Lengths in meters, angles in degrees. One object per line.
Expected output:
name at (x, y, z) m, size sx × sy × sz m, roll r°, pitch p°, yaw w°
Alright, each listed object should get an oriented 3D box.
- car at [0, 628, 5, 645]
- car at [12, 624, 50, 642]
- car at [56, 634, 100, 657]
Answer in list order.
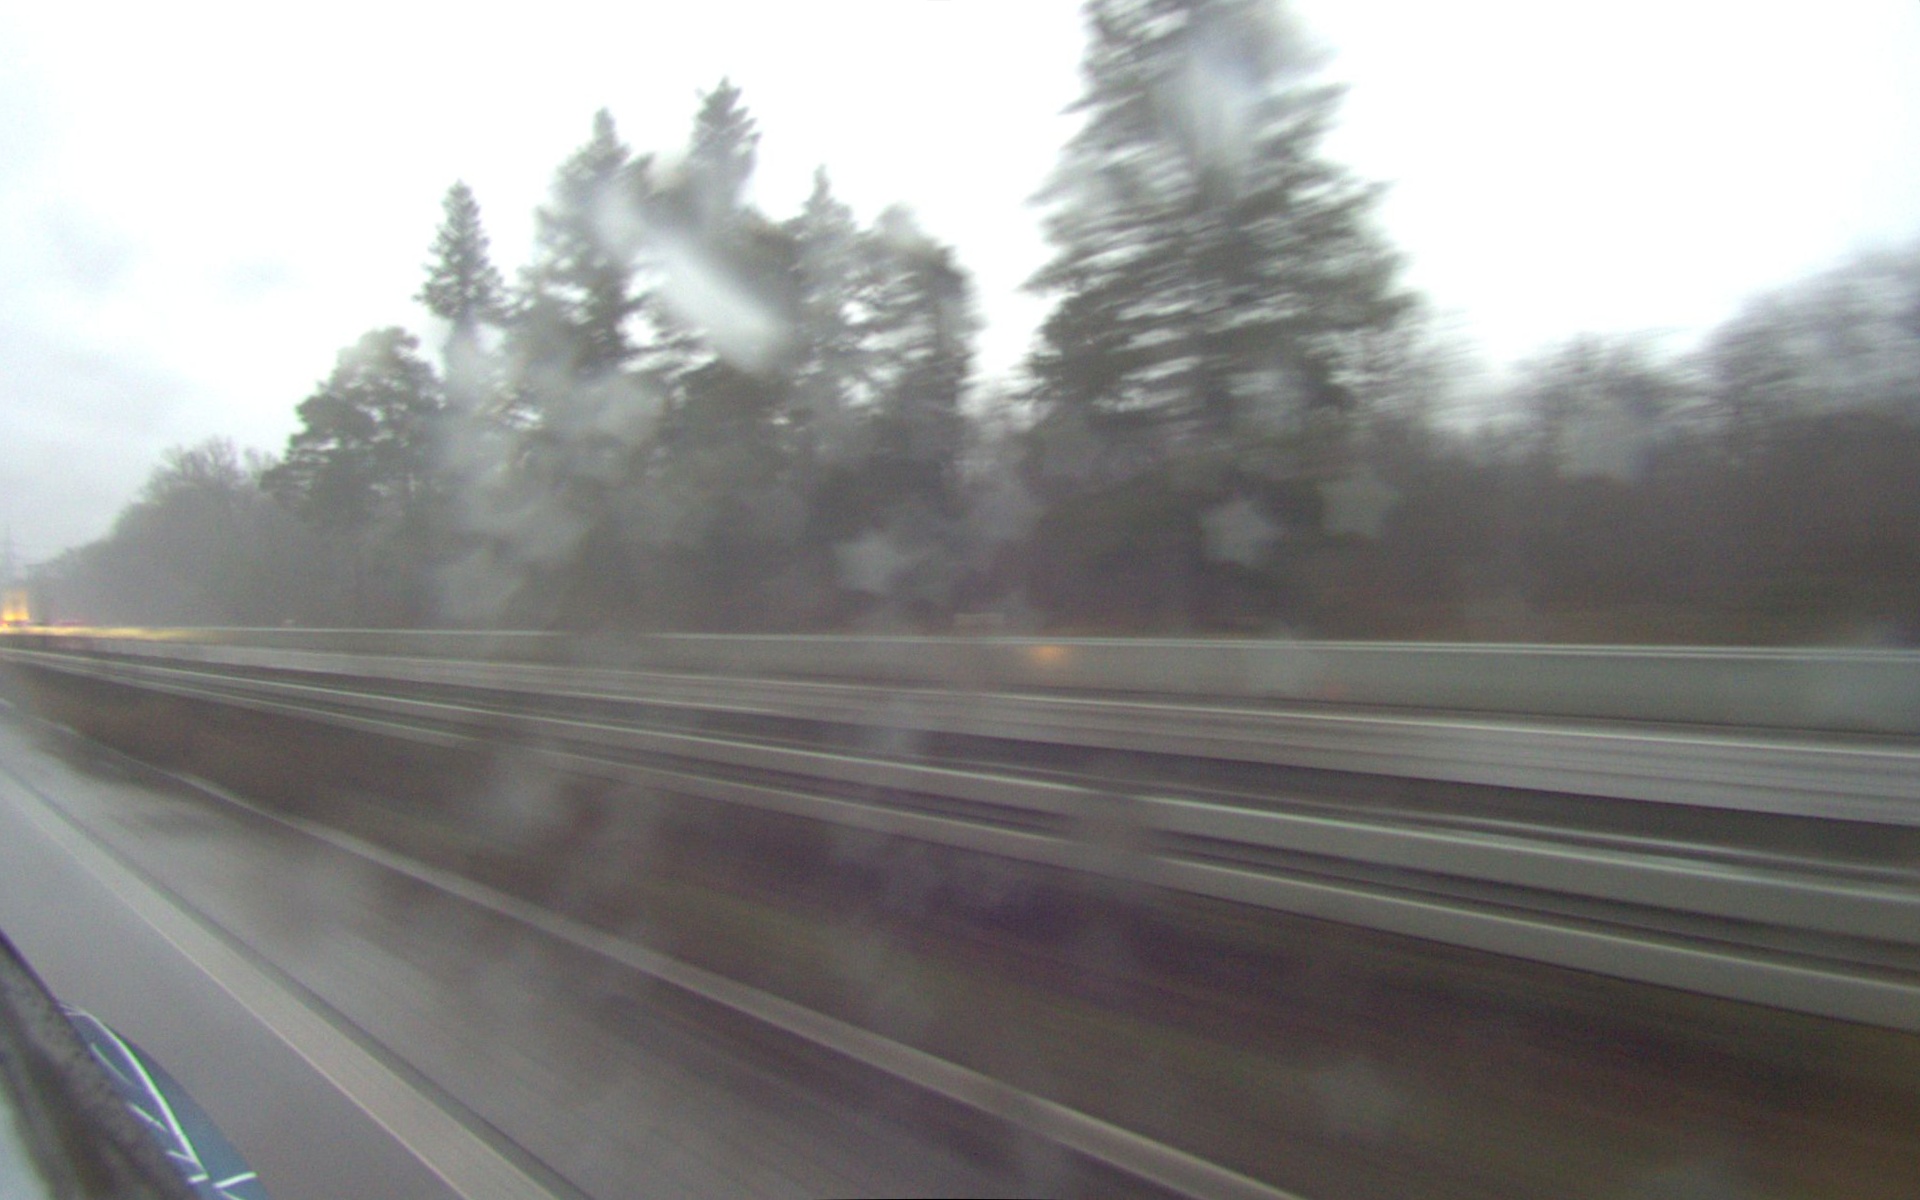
car at (-100.076, 3.761, 104.528) m, size 3.998 × 1.704 × 1.793 m, roll -2°, pitch -1°, yaw 41°
car at (-76.649, 2.720, 83.483) m, size 4.038 × 1.451 × 1.775 m, roll -1°, pitch -1°, yaw 40°
car at (-58.784, 3.002, 67.434) m, size 3.978 × 1.399 × 1.659 m, roll -1°, pitch -1°, yaw 40°
